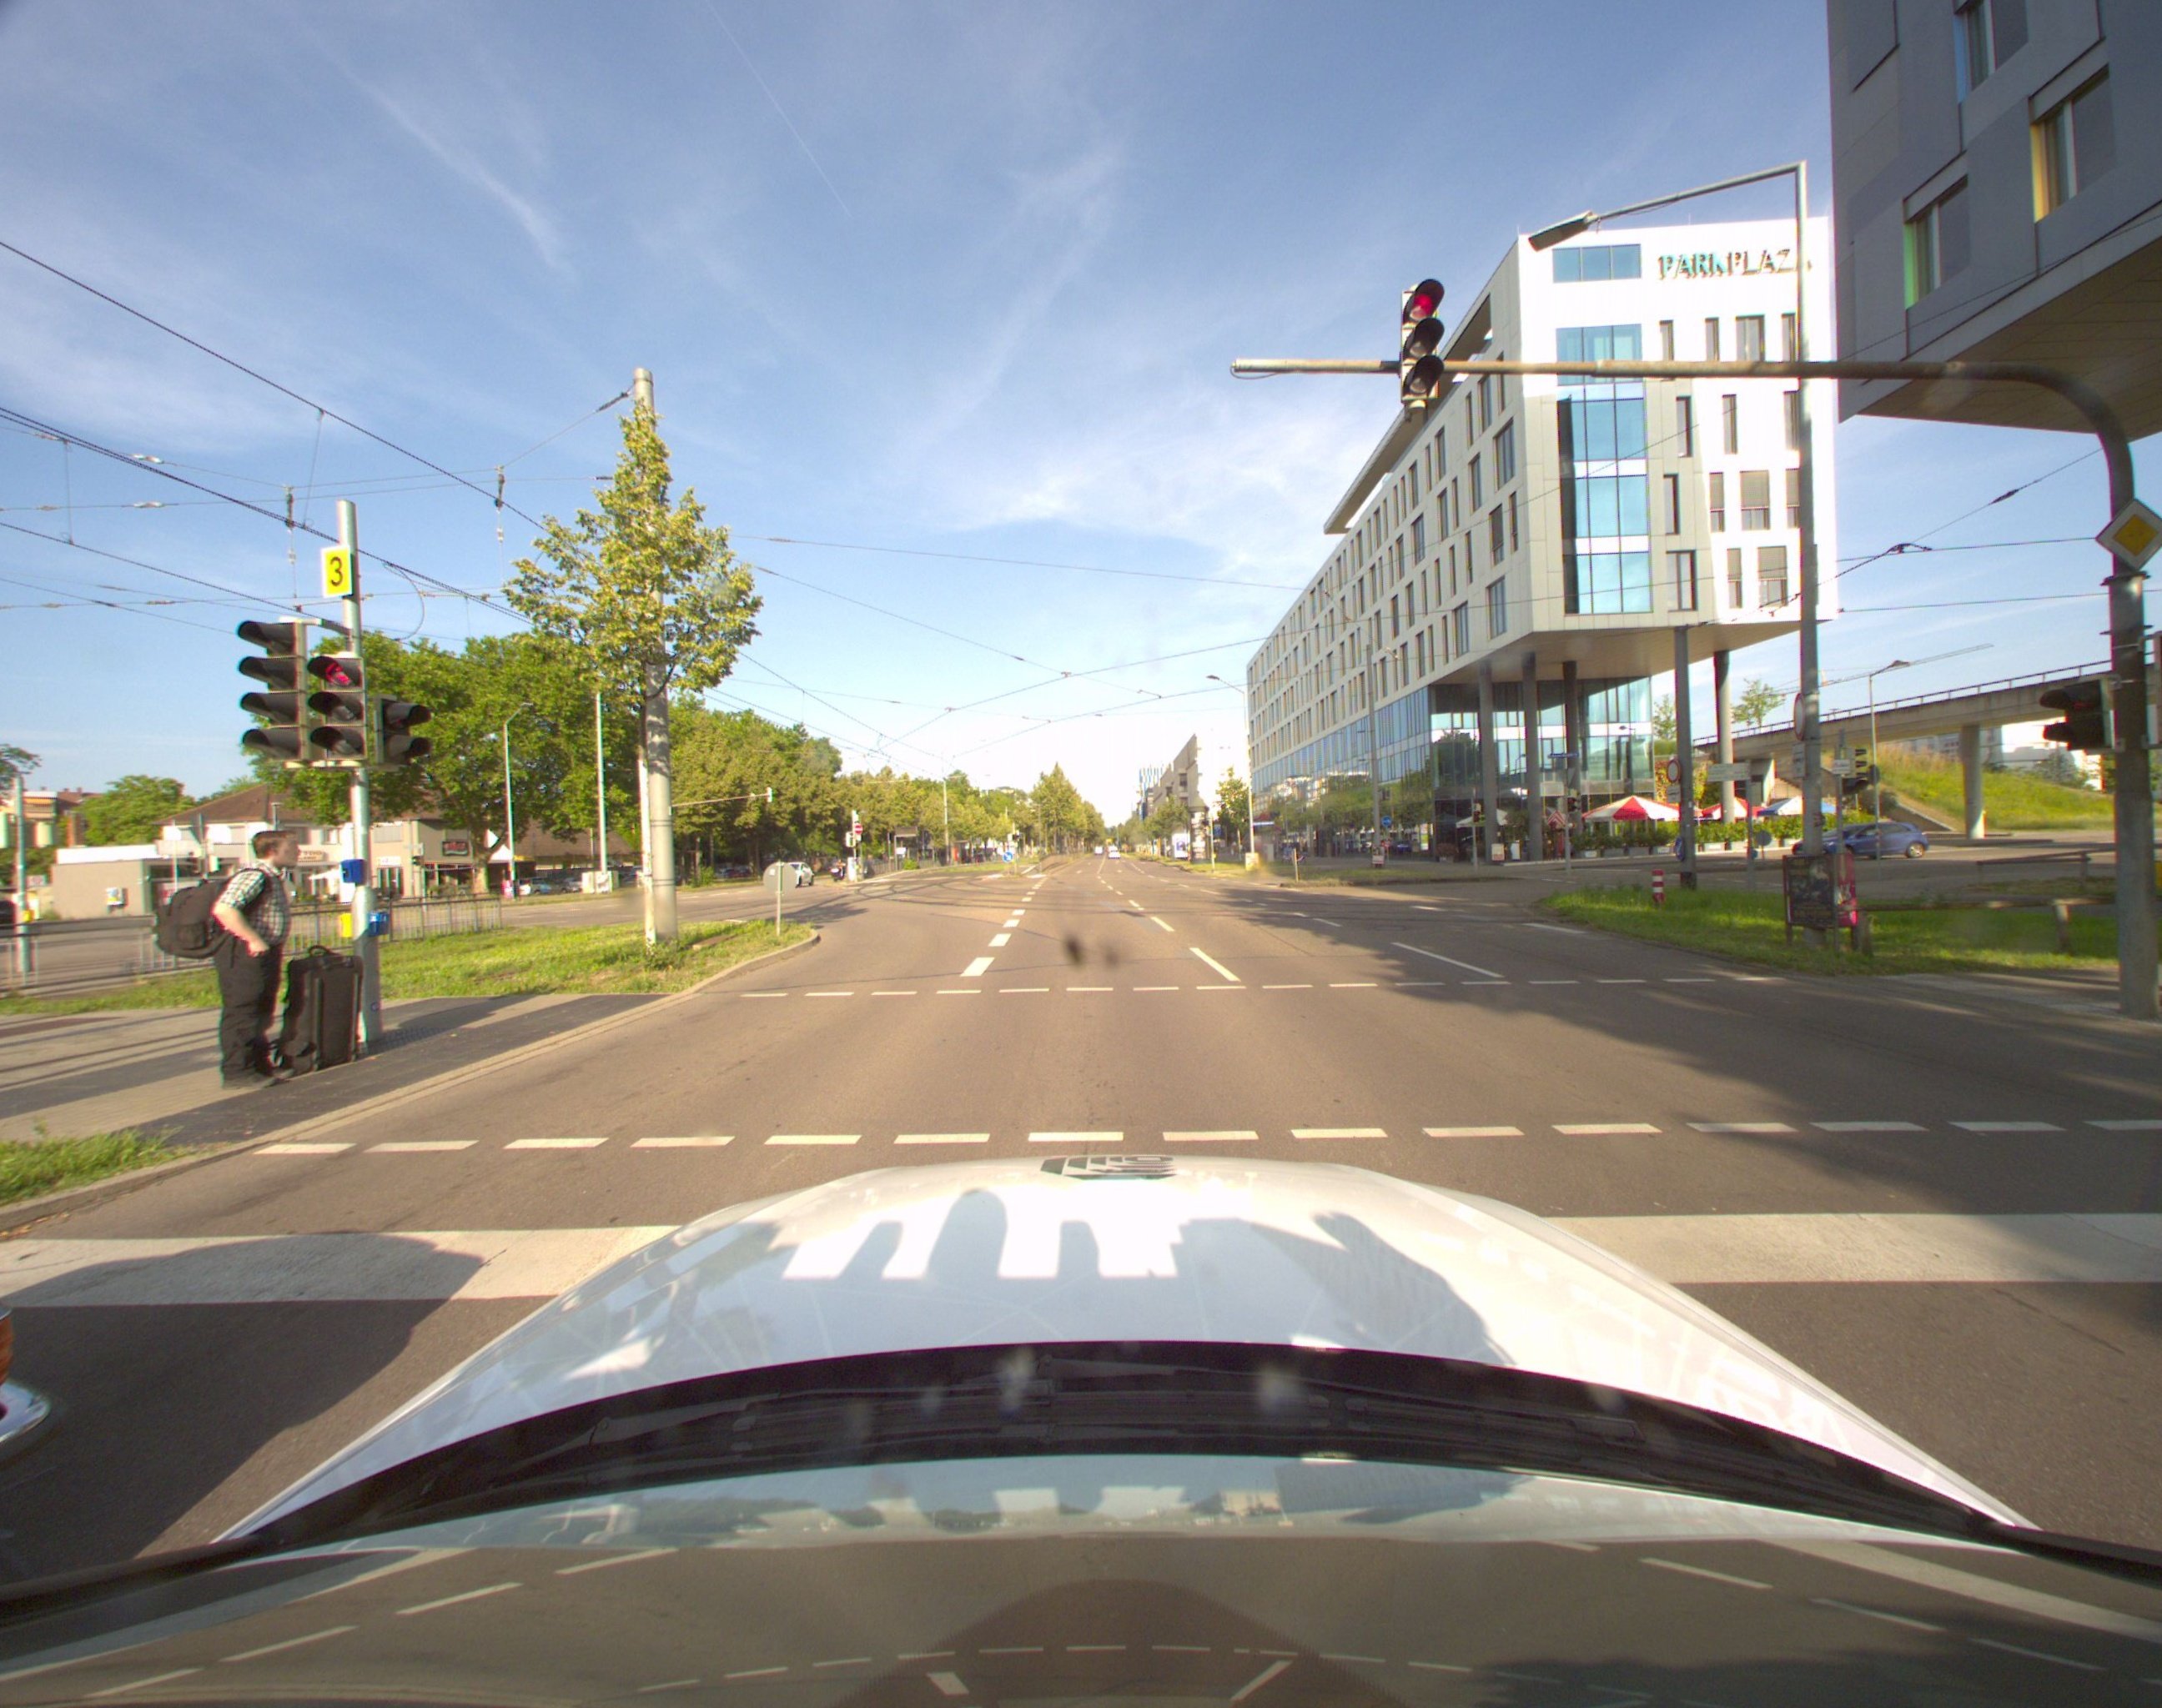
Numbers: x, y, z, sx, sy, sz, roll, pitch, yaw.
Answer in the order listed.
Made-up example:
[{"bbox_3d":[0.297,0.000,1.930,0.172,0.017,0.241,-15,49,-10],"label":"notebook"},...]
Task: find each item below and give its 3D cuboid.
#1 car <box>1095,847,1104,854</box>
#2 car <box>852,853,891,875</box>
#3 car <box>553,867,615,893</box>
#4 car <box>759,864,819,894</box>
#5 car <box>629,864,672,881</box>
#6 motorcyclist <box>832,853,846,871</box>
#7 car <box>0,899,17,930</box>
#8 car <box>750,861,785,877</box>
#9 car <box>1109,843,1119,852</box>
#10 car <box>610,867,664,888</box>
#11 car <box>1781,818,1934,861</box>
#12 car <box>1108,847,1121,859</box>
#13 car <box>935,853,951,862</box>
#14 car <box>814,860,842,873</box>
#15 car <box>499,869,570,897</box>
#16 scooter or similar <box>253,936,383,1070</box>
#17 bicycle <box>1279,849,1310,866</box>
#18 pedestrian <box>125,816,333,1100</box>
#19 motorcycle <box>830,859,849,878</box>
[{"bbox_3d":[4.324,-0.871,189.379,2.007,1.684,4.003,0,1,2],"label":"car"},{"bbox_3d":[-17.111,0.794,66.754,1.722,1.461,4.577,-5,1,2],"label":"car"},{"bbox_3d":[-37.630,1.947,61.753,1.871,1.750,4.008,-2,0,7],"label":"car"},{"bbox_3d":[-17.150,1.430,47.973,1.987,1.504,4.092,-3,0,0],"label":"car"},{"bbox_3d":[-43.679,1.831,82.720,1.871,1.559,4.008,-2,0,7],"label":"car"},{"bbox_3d":[-16.816,0.569,56.648,0.781,1.202,0.846,0,1,-6],"label":"motorcyclist"},{"bbox_3d":[-63.466,3.526,46.225,3.964,1.728,2.005,-2,0,8],"label":"car"},{"bbox_3d":[-34.636,1.633,90.149,1.871,1.559,4.008,-2,0,7],"label":"car"},{"bbox_3d":[6.371,-1.211,158.504,1.856,1.684,4.003,0,1,2],"label":"car"},{"bbox_3d":[-36.934,1.955,67.795,1.871,1.559,4.008,-2,0,7],"label":"car"},{"bbox_3d":[30.285,-0.555,31.849,4.170,1.424,1.859,-3,1,1],"label":"car"},{"bbox_3d":[5.089,-0.145,123.018,1.856,1.684,4.003,0,1,2],"label":"car"},{"bbox_3d":[-26.610,0.673,157.356,1.871,1.559,4.008,-2,0,7],"label":"car"},{"bbox_3d":[-32.643,1.626,105.136,1.871,1.559,4.008,-2,0,7],"label":"car"},{"bbox_3d":[-38.152,2.016,57.003,1.871,1.750,4.008,-2,0,7],"label":"car"},{"bbox_3d":[-5.639,1.090,6.036,0.546,0.907,0.430,-1,0,2],"label":"scooter or similar"},{"bbox_3d":[14.005,0.199,53.353,0.778,1.032,1.856,-2,2,-42],"label":"bicycle"},{"bbox_3d":[-5.688,0.656,5.473,0.697,1.792,0.636,-1,0,2],"label":"pedestrian"},{"bbox_3d":[-16.865,1.010,56.928,0.817,1.263,2.543,-1,1,-6],"label":"motorcycle"}]
